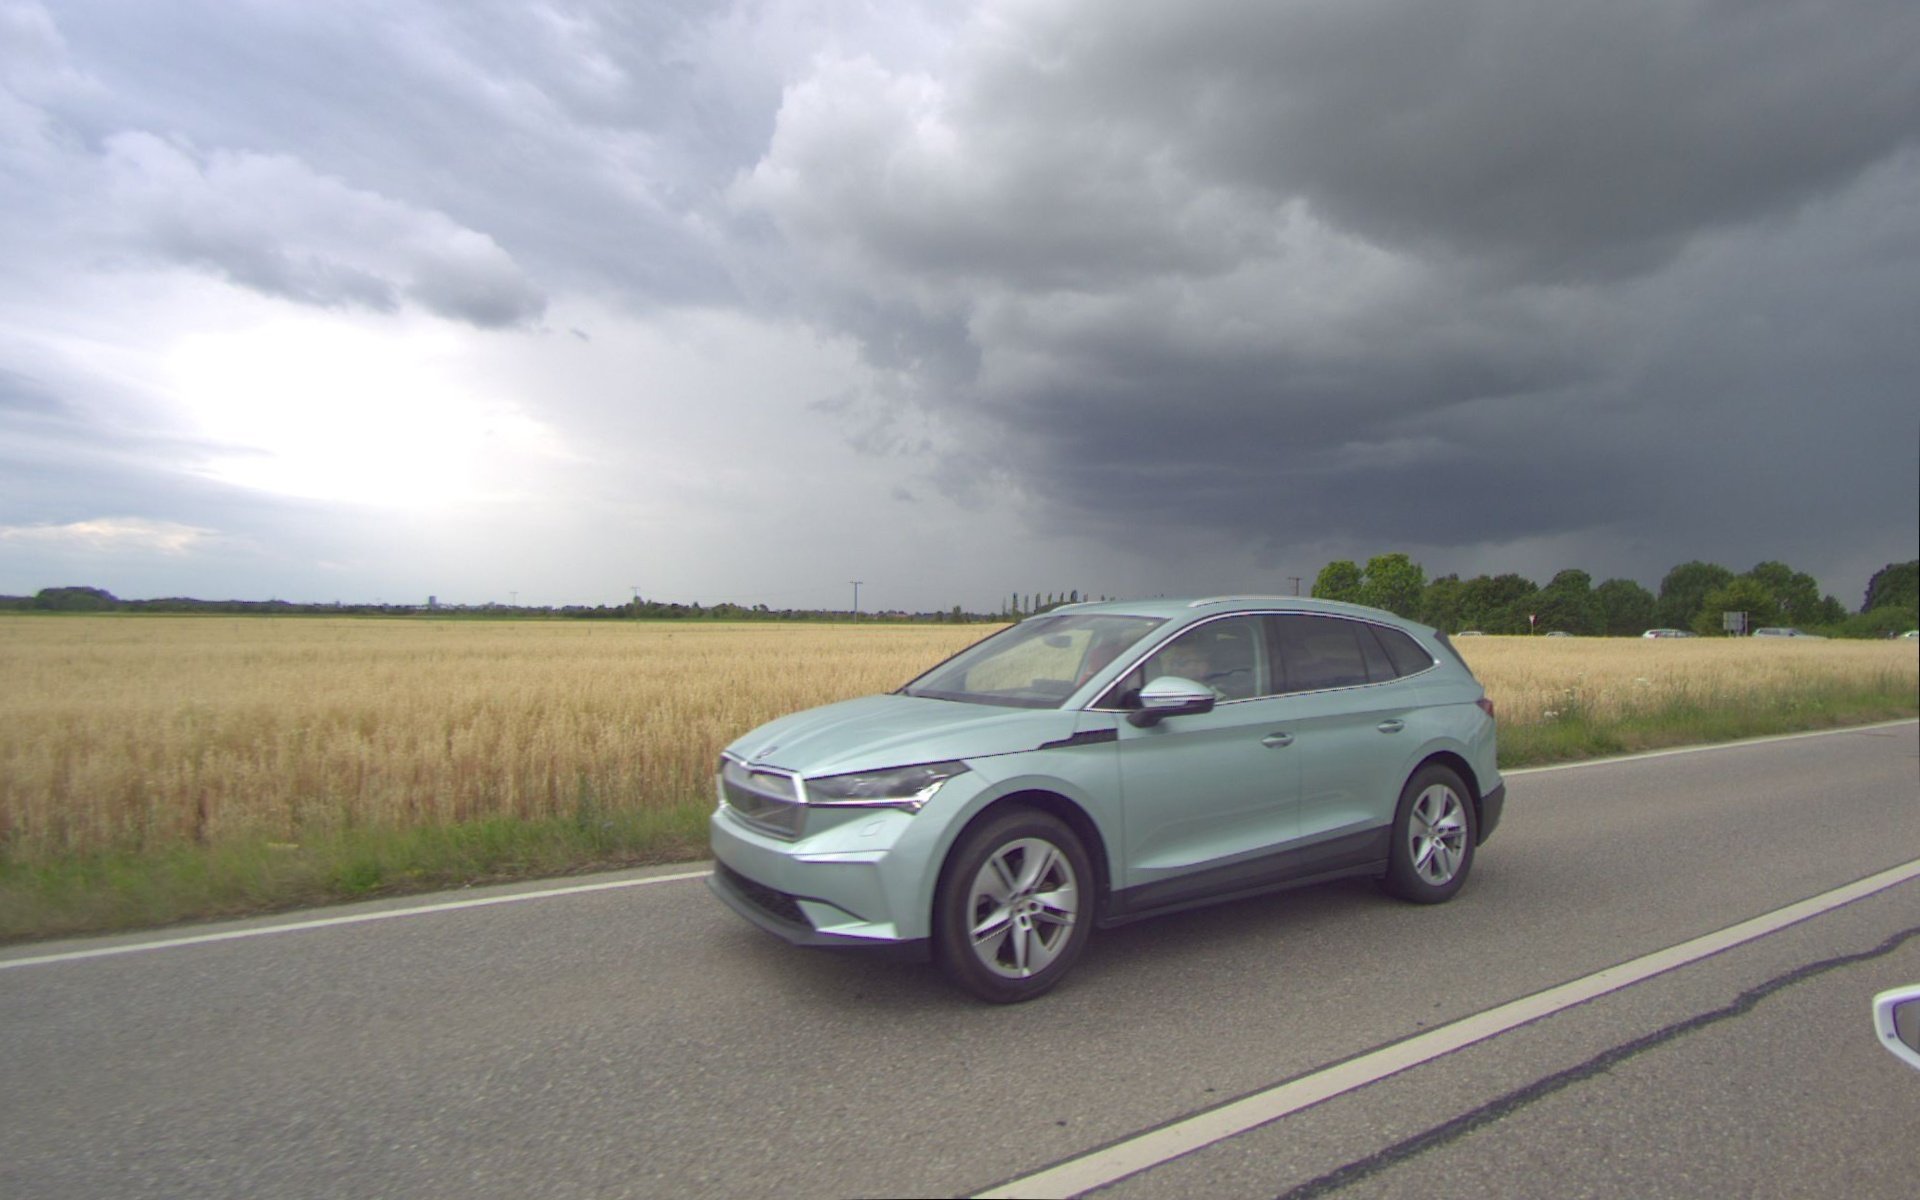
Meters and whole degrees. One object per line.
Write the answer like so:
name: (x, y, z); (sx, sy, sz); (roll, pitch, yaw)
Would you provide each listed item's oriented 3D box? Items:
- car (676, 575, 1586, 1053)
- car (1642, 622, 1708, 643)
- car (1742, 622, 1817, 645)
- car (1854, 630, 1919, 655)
car: (1.076, 0.795, 5.488); (4.710, 1.601, 2.055); (1, -3, -31)
car: (58.689, 2.662, 82.533); (1.841, 1.671, 4.059); (1, -1, -26)
car: (61.977, 2.532, 76.006); (1.841, 1.671, 4.059); (1, -1, -26)
car: (65.335, 2.908, 69.217); (1.841, 1.671, 5.292); (1, -1, -25)
